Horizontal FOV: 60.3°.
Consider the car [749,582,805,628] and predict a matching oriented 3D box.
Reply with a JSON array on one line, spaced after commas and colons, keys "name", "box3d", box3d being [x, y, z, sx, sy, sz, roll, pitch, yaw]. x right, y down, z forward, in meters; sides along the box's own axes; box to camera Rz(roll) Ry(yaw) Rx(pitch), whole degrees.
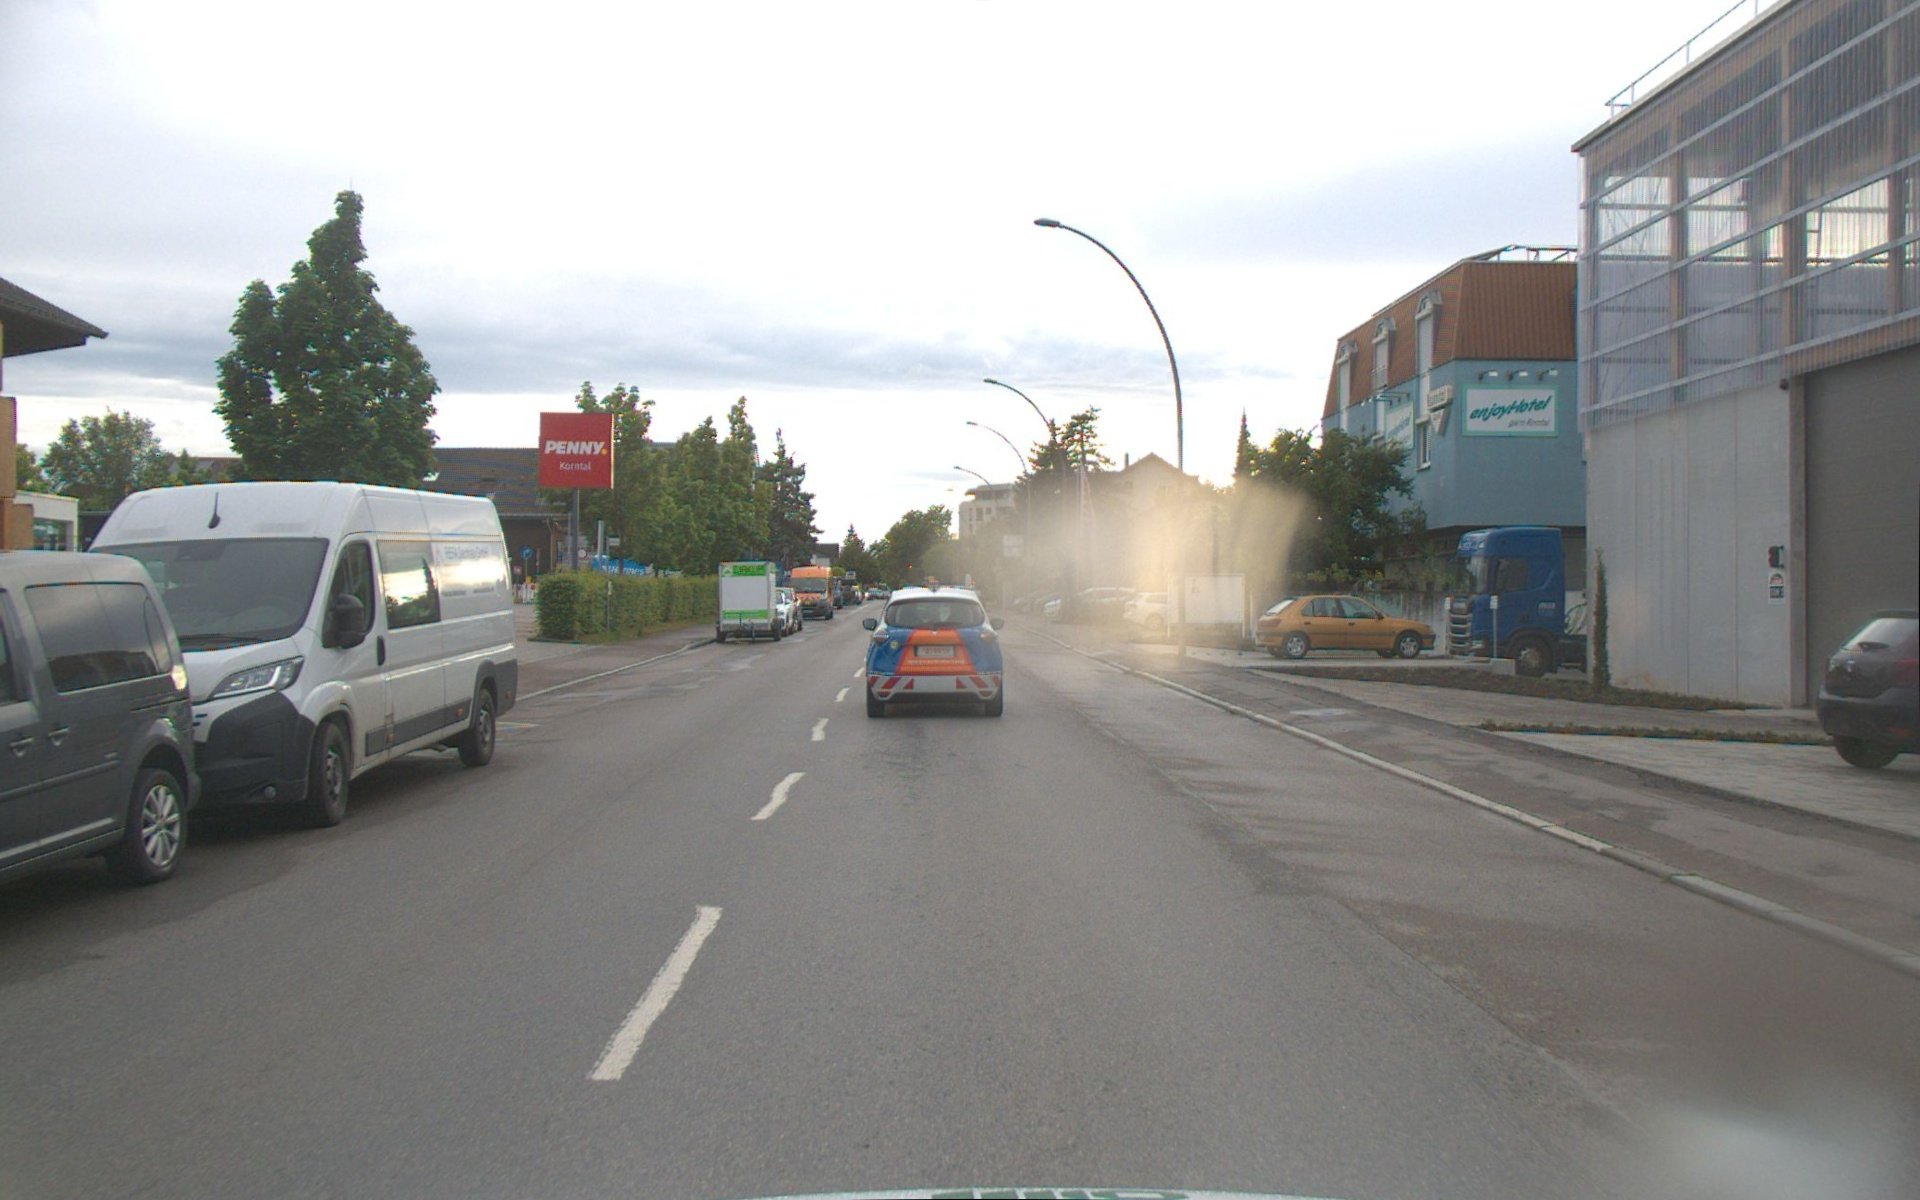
[{"name": "car", "box3d": [-6.759, 0.158, 61.439, 1.769, 1.601, 4.341, 0, 1, -2]}]

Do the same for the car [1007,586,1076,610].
[{"name": "car", "box3d": [4.827, -0.130, 98.260, 3.908, 1.288, 1.949, 1, 0, -4]}]

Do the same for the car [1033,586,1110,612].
[{"name": "car", "box3d": [5.829, -0.045, 86.615, 3.905, 1.288, 1.951, 1, 0, 0]}]

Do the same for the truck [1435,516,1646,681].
[{"name": "truck", "box3d": [14.382, -0.031, 41.202, 4.063, 3.737, 2.718, 3, 0, -4]}]

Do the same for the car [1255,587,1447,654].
[{"name": "car", "box3d": [8.732, 0.447, 37.124, 3.908, 1.455, 1.630, 1, 0, -3]}]

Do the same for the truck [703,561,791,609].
[{"name": "truck", "box3d": [-14.802, -1.032, 115.160, 5.792, 3.127, 2.449, 1, 0, -1]}]

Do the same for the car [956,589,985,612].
[{"name": "car", "box3d": [0.637, 0.019, 103.475, 1.558, 1.364, 4.090, 1, 0, -3]}]

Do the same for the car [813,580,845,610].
[{"name": "car", "box3d": [-8.892, -0.364, 112.931, 1.953, 1.981, 5.363, 1, 0, -2]}]

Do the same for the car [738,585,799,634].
[{"name": "car", "box3d": [-6.442, 0.295, 55.838, 1.737, 1.525, 4.135, 0, 1, -2]}]

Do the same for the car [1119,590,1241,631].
[{"name": "car", "box3d": [8.337, 0.399, 62.967, 4.327, 1.417, 1.879, 1, 0, -3]}]

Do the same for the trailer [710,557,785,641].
[{"name": "trailer", "box3d": [-6.400, -0.058, 50.202, 1.776, 2.354, 4.728, -2, 1, -2]}]

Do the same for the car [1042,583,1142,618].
[{"name": "car", "box3d": [5.834, 0.027, 73.407, 4.251, 1.501, 1.902, 1, 0, -3]}]

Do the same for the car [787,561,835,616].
[{"name": "car", "box3d": [-7.239, -0.578, 80.893, 2.082, 2.582, 6.019, 0, 1, -3]}]

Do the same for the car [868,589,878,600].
[{"name": "car", "box3d": [-11.375, -0.709, 216.144, 1.359, 1.509, 3.781, 0, 0, -3]}]

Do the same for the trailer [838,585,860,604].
[{"name": "trailer", "box3d": [-8.713, -0.438, 130.177, 1.683, 1.282, 5.241, 1, 2, -4]}]

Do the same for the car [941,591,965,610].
[{"name": "car", "box3d": [-0.604, 0.026, 135.399, 1.678, 1.463, 4.522, 1, 0, -4]}]

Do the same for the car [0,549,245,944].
[{"name": "car", "box3d": [-5.276, 0.715, 7.958, 1.734, 1.799, 4.445, -3, 0, -1]}]

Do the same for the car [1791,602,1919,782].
[{"name": "car", "box3d": [9.912, 0.817, 14.944, 3.885, 1.516, 1.833, 1, 0, -1]}]

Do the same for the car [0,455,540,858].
[{"name": "car", "box3d": [-5.346, 0.341, 13.750, 2.115, 2.469, 6.457, -3, 0, -2]}]

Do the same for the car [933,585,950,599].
[{"name": "car", "box3d": [-2.075, -0.867, 183.949, 1.617, 1.548, 3.997, 1, 0, -3]}]

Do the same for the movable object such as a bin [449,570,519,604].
[{"name": "movable object such as a bin", "box3d": [-26.069, -0.708, 90.641, 3.358, 1.790, 1.996, 1, 0, -8]}]

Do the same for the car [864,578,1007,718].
[{"name": "car", "box3d": [-0.363, 0.572, 21.338, 1.697, 1.659, 3.493, 0, 0, -3]}]

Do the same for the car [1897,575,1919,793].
[{"name": "car", "box3d": [9.569, 0.703, 12.240, 4.139, 1.704, 1.981, 1, 0, 0]}]

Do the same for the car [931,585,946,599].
[{"name": "car", "box3d": [-2.708, -0.946, 205.706, 1.617, 1.701, 3.997, 1, 0, -3]}]

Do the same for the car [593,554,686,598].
[{"name": "car", "box3d": [-15.829, -1.162, 81.855, 4.219, 2.049, 2.062, 1, 0, -2]}]
